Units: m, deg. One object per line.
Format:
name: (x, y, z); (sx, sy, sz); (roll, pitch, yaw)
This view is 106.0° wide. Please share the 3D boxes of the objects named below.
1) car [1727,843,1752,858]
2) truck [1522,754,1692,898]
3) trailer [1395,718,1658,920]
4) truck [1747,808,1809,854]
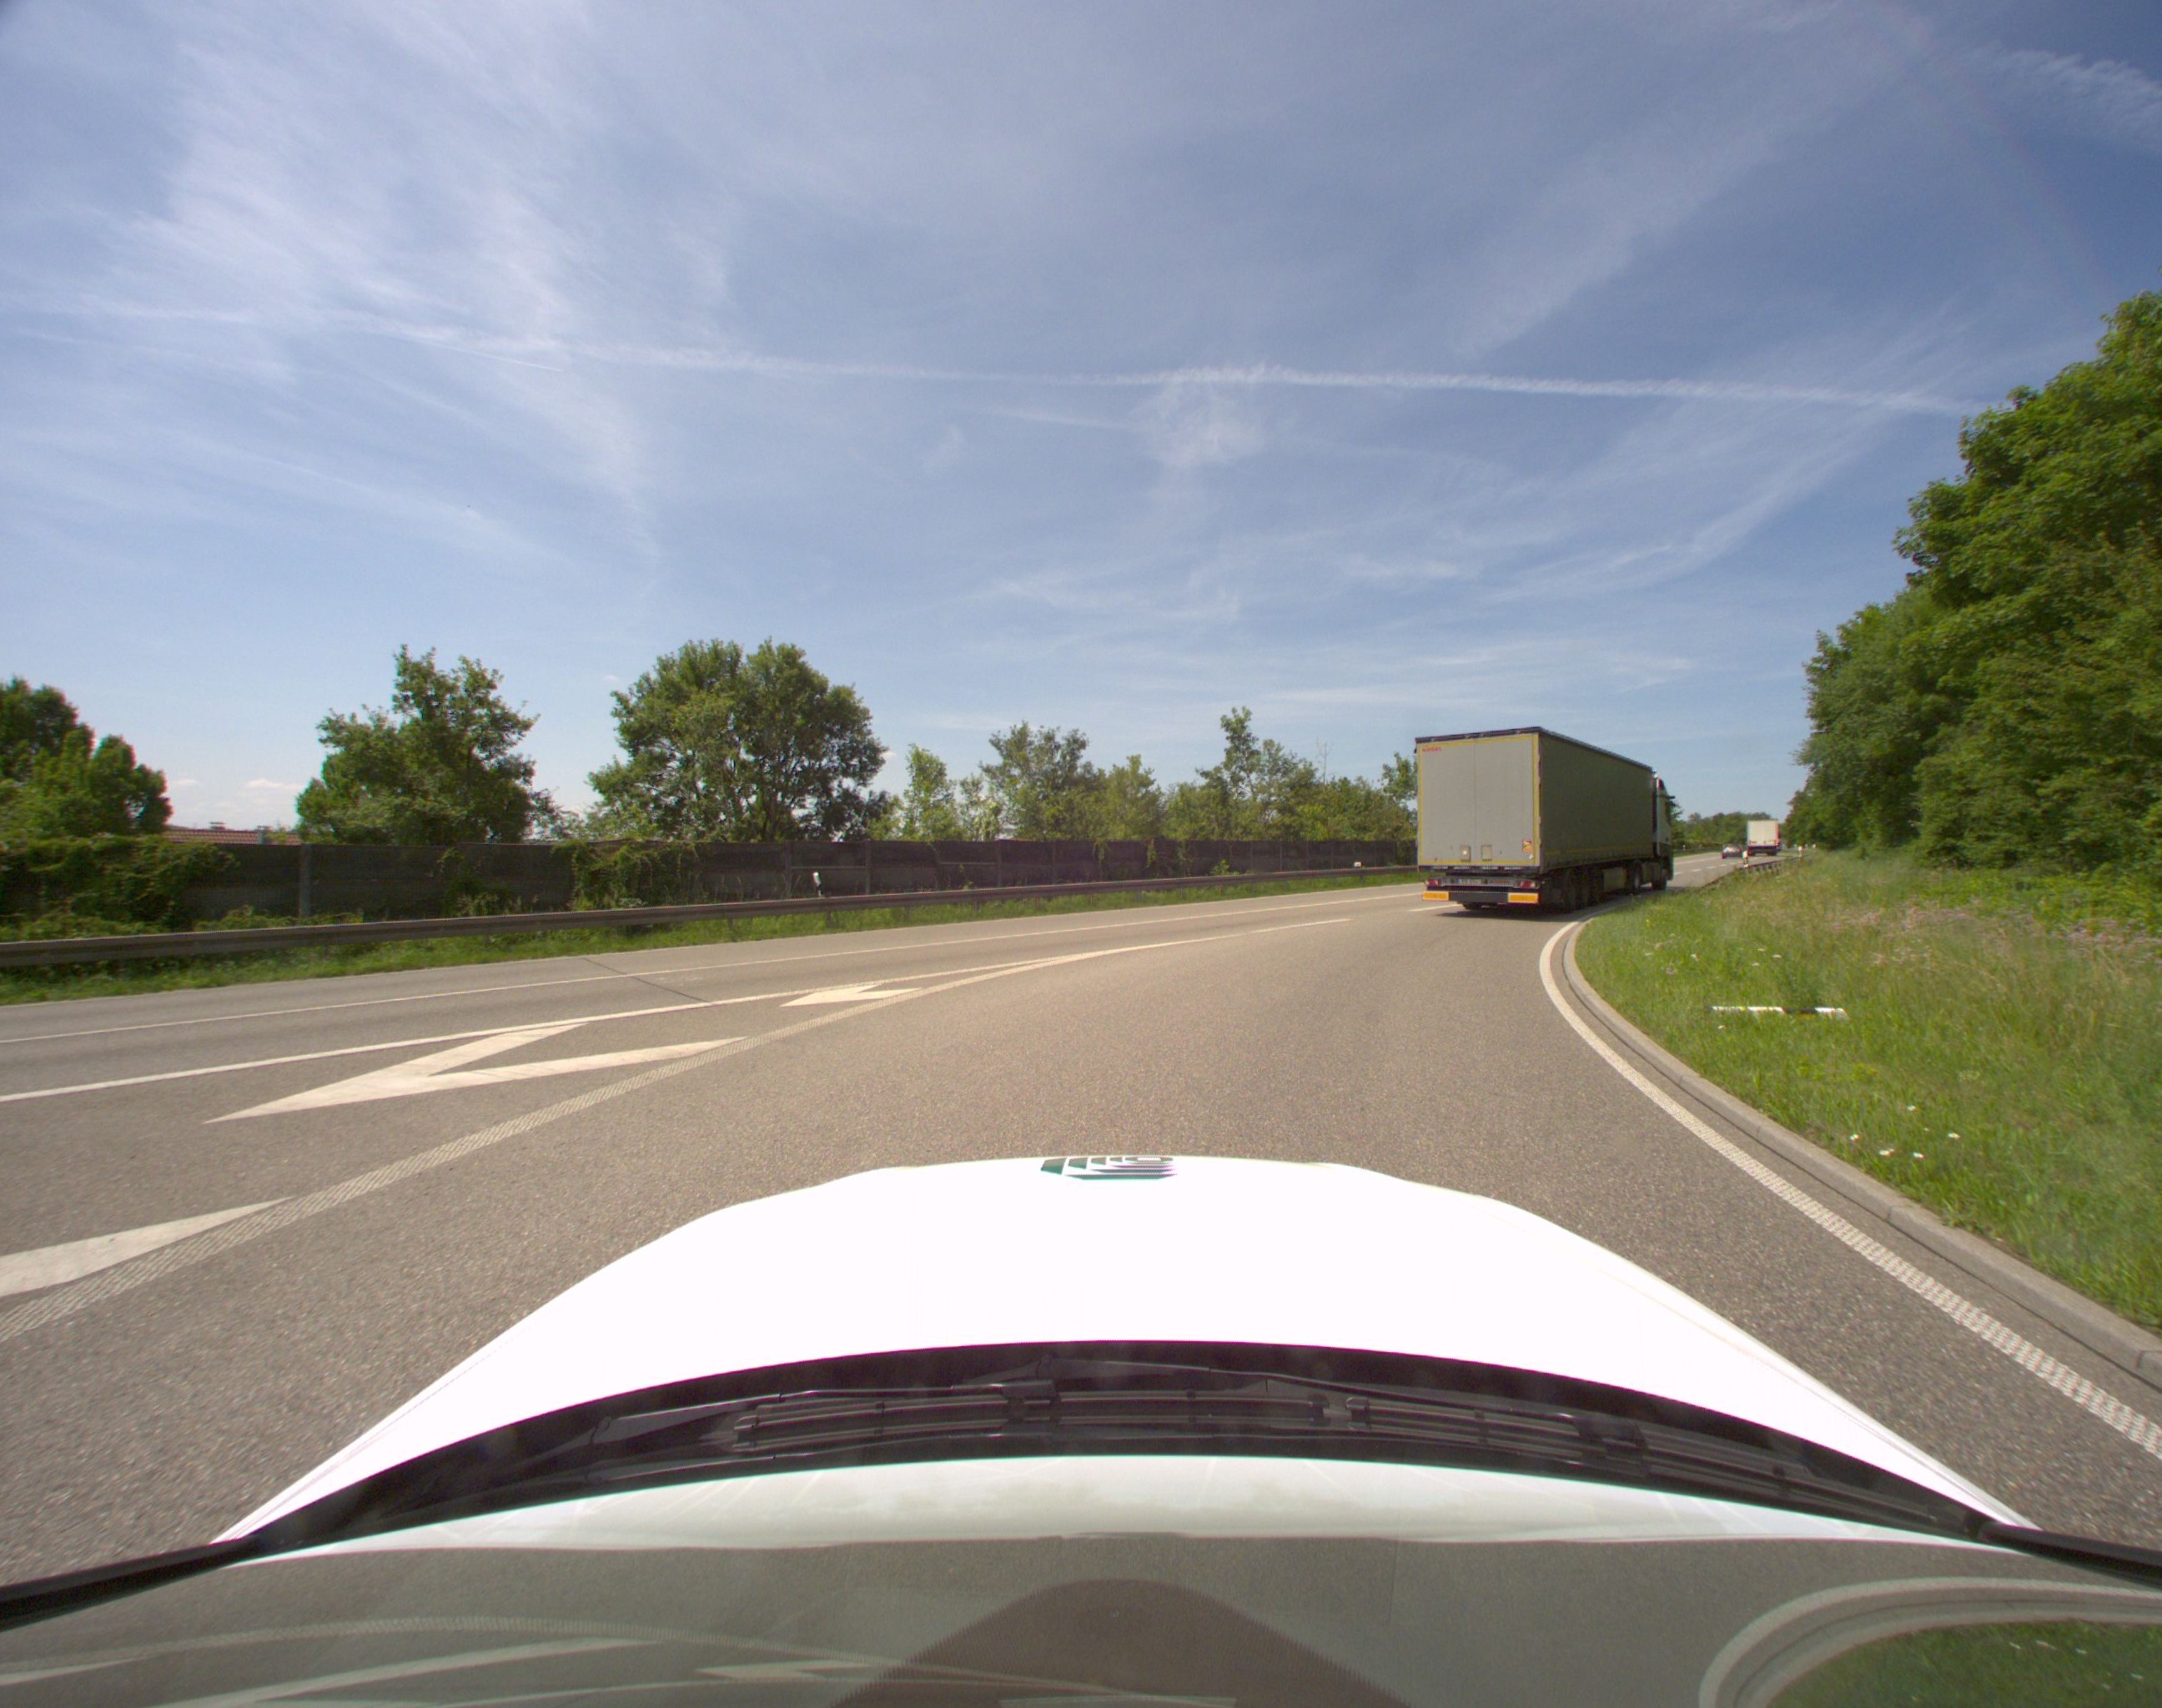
car: (64.876, -0.361, 80.221); (1.650, 1.486, 4.024); (0, 1, 43)
truck: (17.919, -0.805, 27.522); (7.161, 4.225, 3.124); (0, -1, -43)
trailer: (12.733, -0.706, 22.151); (2.998, 4.034, 13.432); (-1, -1, 43)
truck: (78.952, -2.465, 92.095); (16.296, 4.744, 3.794); (-1, 0, -44)
